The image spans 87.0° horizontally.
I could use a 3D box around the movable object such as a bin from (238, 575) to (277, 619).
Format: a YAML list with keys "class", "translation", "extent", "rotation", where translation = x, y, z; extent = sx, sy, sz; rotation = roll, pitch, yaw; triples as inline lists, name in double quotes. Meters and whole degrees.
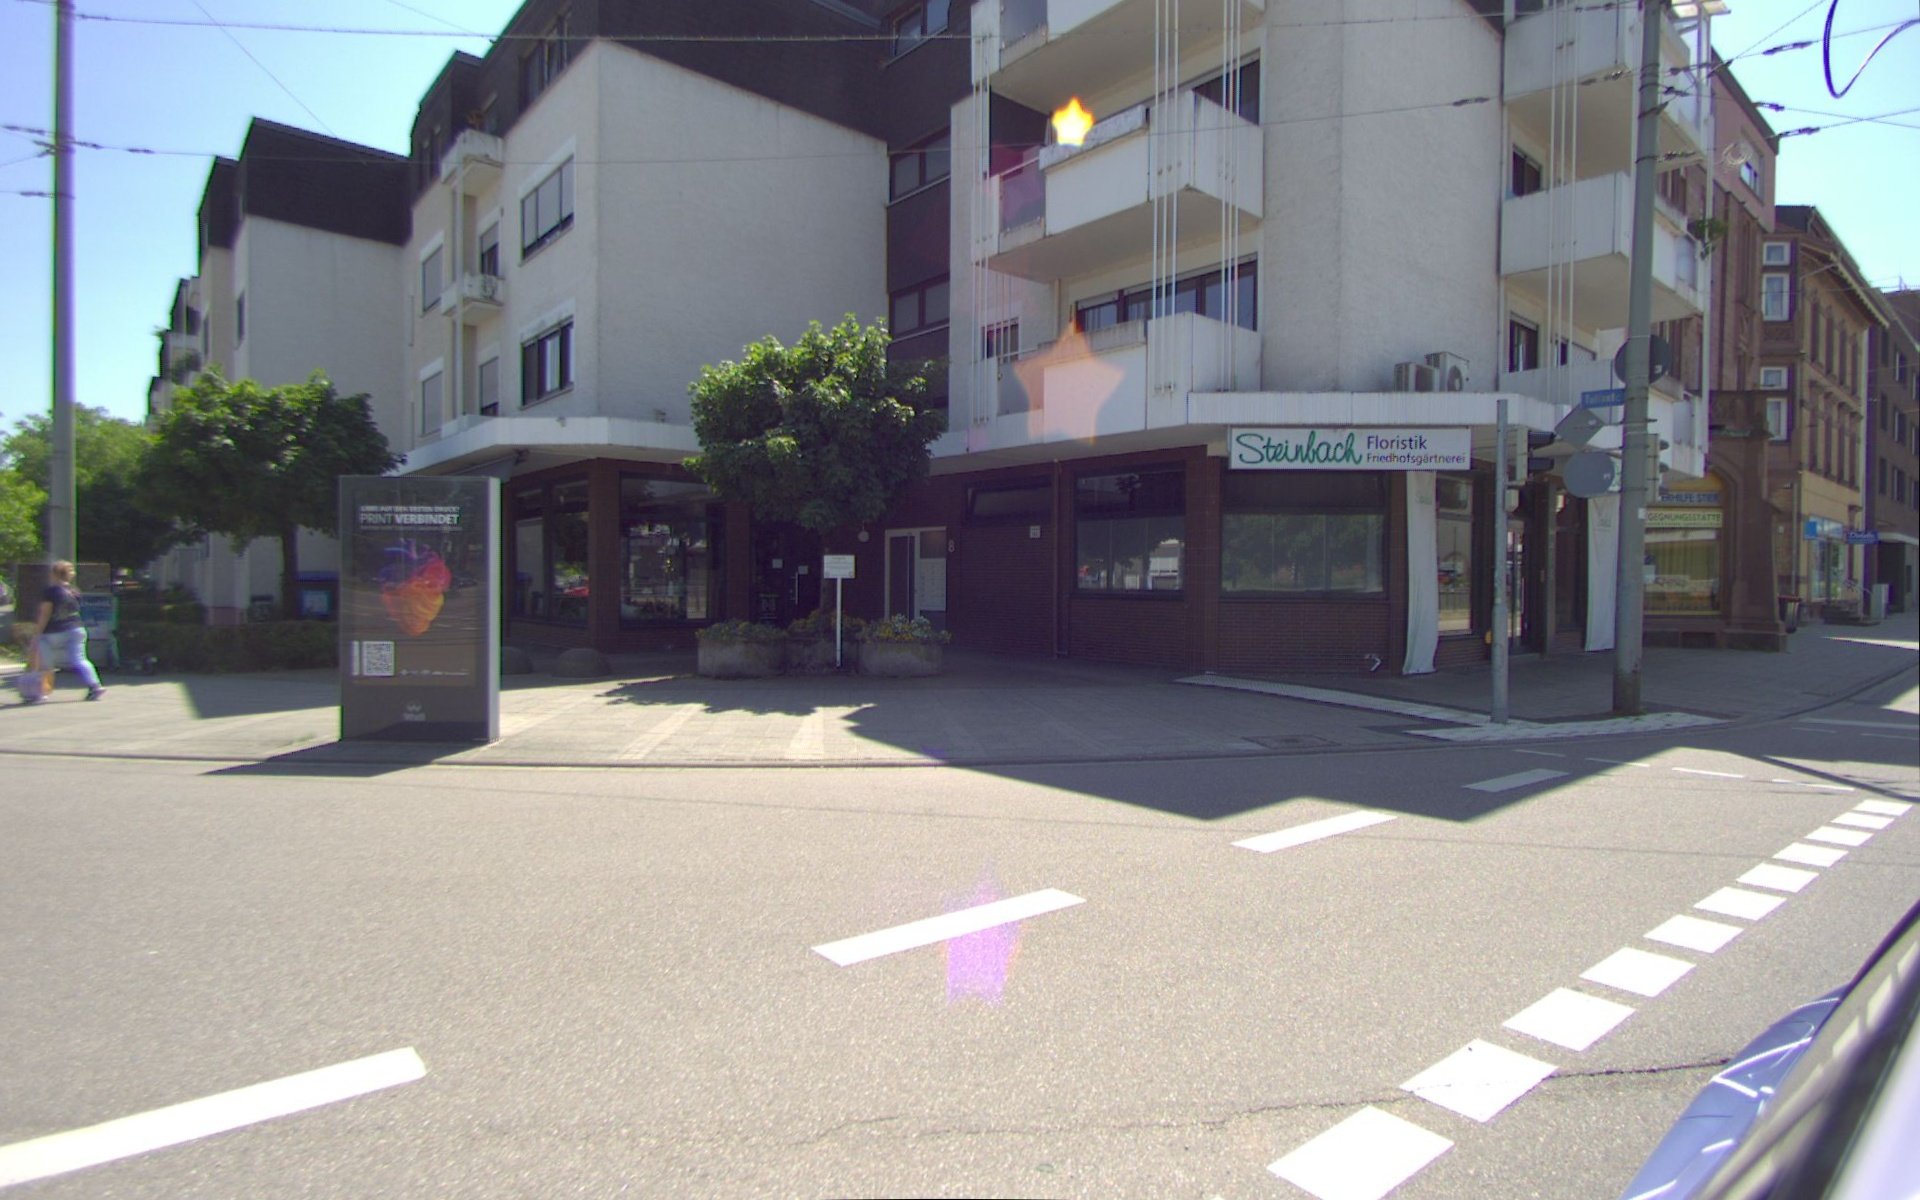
- class: "movable object such as a bin"
  translation: [-17.165, -0.081, 24.724]
  extent: [0.701, 1.060, 0.743]
  rotation: [0, 1, -42]

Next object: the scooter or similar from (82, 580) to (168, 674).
- class: "scooter or similar"
  translation: [-11.403, 0.349, 13.811]
  extent: [1.241, 1.228, 0.391]
  rotation: [0, 1, 24]

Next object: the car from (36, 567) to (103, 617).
- class: "car"
  translation: [-30.400, -0.305, 34.569]
  extent: [1.625, 1.629, 3.646]
  rotation: [-1, 1, -41]

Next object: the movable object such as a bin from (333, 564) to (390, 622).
- class: "movable object such as a bin"
  translation: [-15.346, -0.191, 25.934]
  extent: [1.045, 1.424, 1.320]
  rotation: [-1, 1, -42]

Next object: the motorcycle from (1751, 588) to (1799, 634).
- class: "motorcycle"
  translation: [21.284, 0.264, 26.409]
  extent: [1.845, 1.163, 0.528]
  rotation: [-1, 1, -37]

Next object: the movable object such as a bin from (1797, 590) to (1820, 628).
- class: "movable object such as a bin"
  translation: [24.444, 0.245, 29.150]
  extent: [0.646, 1.061, 0.376]
  rotation: [0, 3, -41]

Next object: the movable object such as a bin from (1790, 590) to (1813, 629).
- class: "movable object such as a bin"
  translation: [23.931, 0.262, 28.769]
  extent: [0.549, 1.061, 0.376]
  rotation: [0, 3, -41]

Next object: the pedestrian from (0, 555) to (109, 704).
- class: "pedestrian"
  translation: [-10.214, 0.306, 11.378]
  extent: [0.809, 1.603, 0.830]
  rotation: [0, 1, -26]

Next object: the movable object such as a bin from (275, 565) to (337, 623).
- class: "movable object such as a bin"
  translation: [-16.348, -0.162, 25.296]
  extent: [1.174, 1.424, 1.058]
  rotation: [-1, 1, -42]

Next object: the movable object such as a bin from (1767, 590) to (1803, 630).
- class: "movable object such as a bin"
  translation: [23.319, 0.279, 28.602]
  extent: [0.549, 1.061, 0.649]
  rotation: [0, 3, -41]
